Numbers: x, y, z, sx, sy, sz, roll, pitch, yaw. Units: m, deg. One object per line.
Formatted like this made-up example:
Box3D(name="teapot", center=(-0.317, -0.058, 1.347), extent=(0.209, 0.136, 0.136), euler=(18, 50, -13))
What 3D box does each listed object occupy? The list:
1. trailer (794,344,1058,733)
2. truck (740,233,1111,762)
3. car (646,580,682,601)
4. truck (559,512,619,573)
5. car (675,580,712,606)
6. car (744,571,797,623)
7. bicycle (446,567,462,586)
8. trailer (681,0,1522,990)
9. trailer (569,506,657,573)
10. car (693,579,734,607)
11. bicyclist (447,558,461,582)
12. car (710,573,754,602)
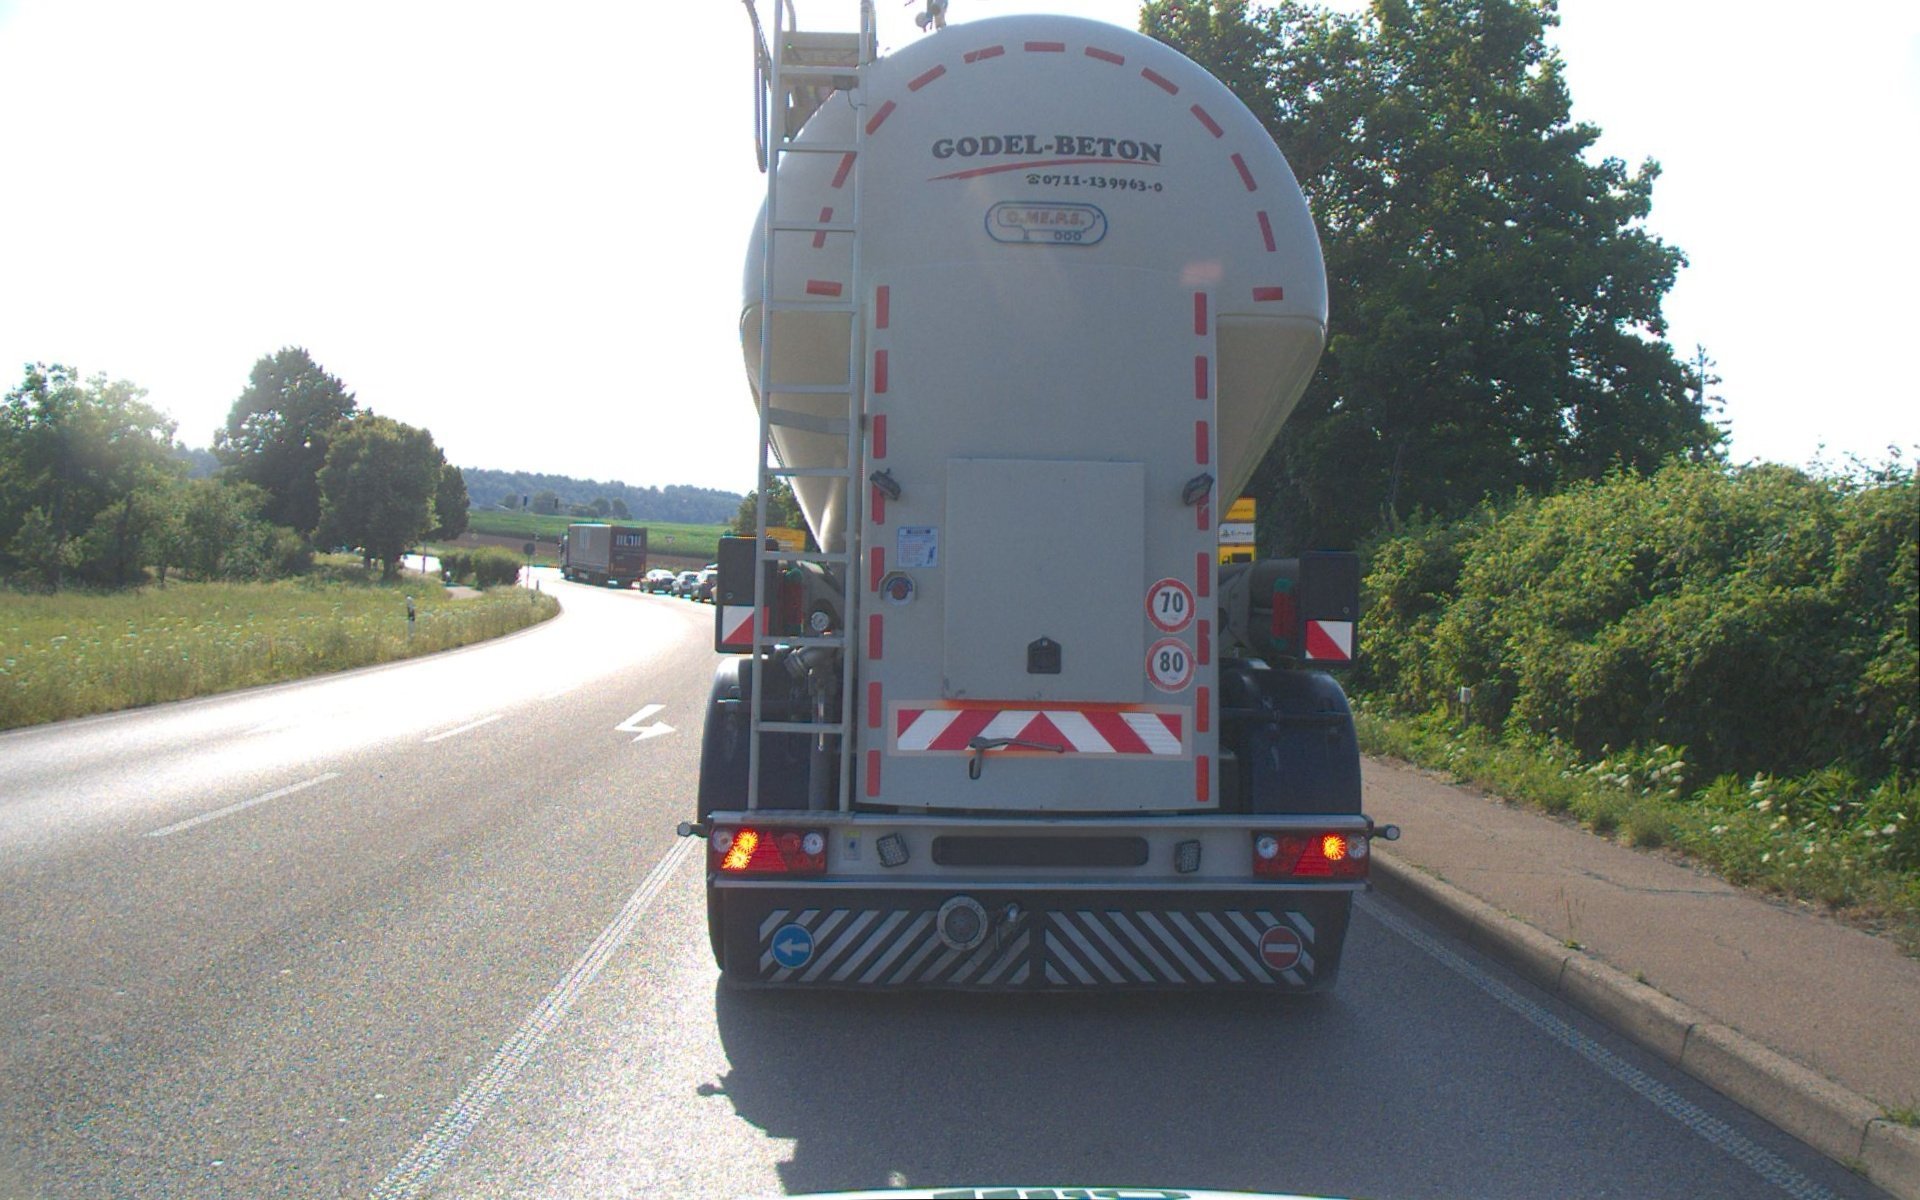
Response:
Box3D(name="trailer", center=(-0.464, -0.757, 26.254), extent=(2.895, 4.390, 14.173), euler=(2, 0, -1))
Box3D(name="truck", center=(-0.467, -0.786, 14.962), extent=(2.854, 4.076, 4.054), euler=(1, 0, -6))
Box3D(name="car", center=(-18.232, -0.612, 101.805), extent=(1.742, 1.226, 3.408), euler=(-1, 1, -18))
Box3D(name="truck", center=(-28.517, -4.381, 126.956), extent=(3.331, 4.426, 5.664), euler=(2, 0, -24))
Box3D(name="car", center=(-15.430, -0.427, 95.570), extent=(1.556, 1.364, 3.408), euler=(2, 0, -18))
Box3D(name="car", center=(-7.709, -0.140, 67.058), extent=(1.828, 2.049, 3.709), euler=(1, 0, -11))
Box3D(name="bicycle", center=(-30.665, -1.427, 100.261), extent=(0.623, 1.093, 1.667), euler=(3, 0, -9))
Box3D(name="trailer", center=(0.007, -0.760, 10.543), extent=(2.853, 4.076, 9.917), euler=(1, 0, -6))
Box3D(name="trailer", center=(-25.163, -4.244, 119.204), extent=(3.331, 4.426, 14.190), euler=(2, 0, -23))
Box3D(name="car", center=(-13.033, -0.360, 87.410), extent=(1.556, 1.364, 3.408), euler=(2, 0, -18))
Box3D(name="bicyclist", center=(-30.623, -1.816, 100.148), extent=(0.623, 1.444, 0.689), euler=(3, 0, -9))
Box3D(name="car", center=(-11.215, -0.622, 81.293), extent=(1.556, 1.364, 3.408), euler=(2, 0, -18))
